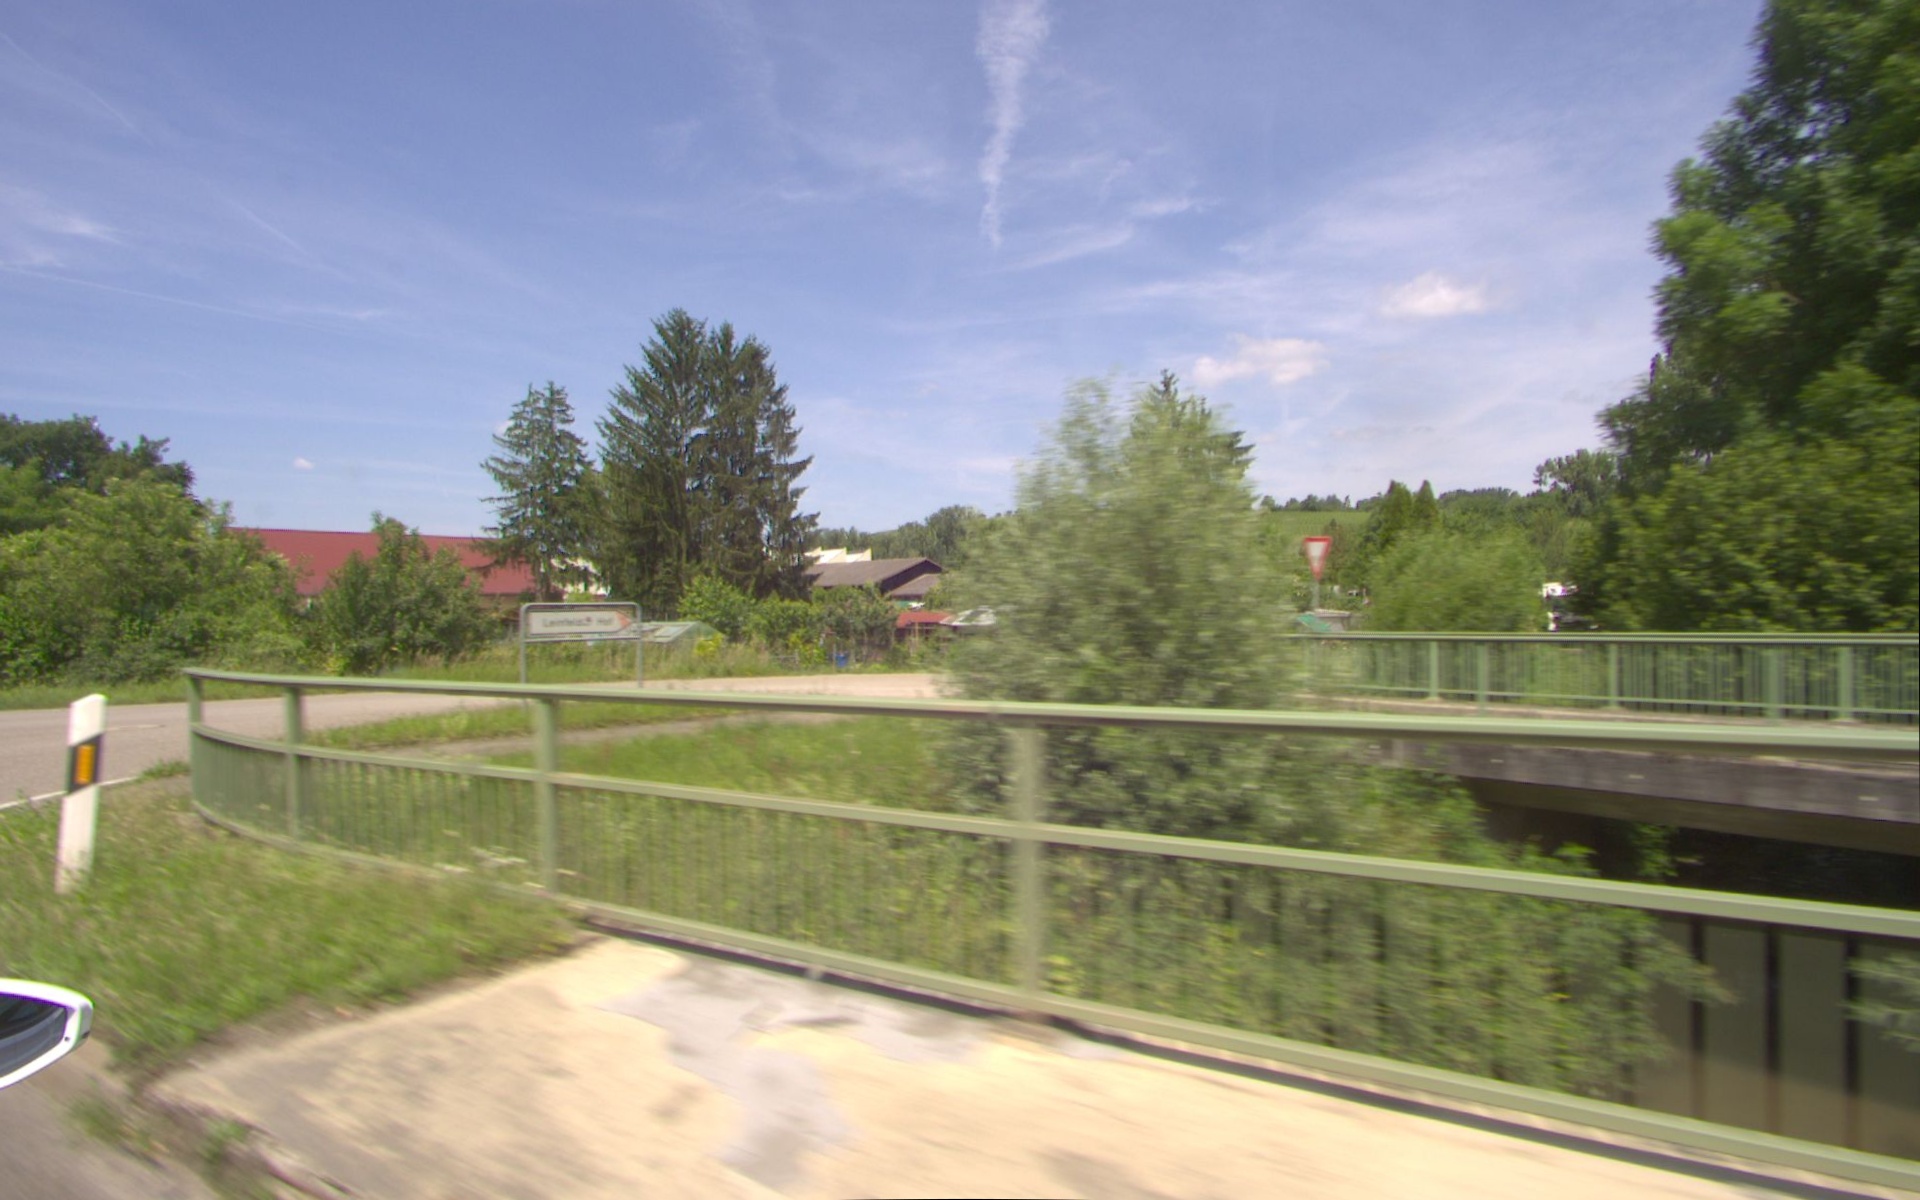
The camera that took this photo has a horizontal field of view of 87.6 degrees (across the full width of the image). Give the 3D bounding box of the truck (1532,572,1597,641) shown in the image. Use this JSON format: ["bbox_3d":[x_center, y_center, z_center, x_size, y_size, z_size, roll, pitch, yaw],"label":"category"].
[{"bbox_3d":[35.839,0.391,59.694,2.344,3.744,11.537,-1,0,26],"label":"truck"}]
